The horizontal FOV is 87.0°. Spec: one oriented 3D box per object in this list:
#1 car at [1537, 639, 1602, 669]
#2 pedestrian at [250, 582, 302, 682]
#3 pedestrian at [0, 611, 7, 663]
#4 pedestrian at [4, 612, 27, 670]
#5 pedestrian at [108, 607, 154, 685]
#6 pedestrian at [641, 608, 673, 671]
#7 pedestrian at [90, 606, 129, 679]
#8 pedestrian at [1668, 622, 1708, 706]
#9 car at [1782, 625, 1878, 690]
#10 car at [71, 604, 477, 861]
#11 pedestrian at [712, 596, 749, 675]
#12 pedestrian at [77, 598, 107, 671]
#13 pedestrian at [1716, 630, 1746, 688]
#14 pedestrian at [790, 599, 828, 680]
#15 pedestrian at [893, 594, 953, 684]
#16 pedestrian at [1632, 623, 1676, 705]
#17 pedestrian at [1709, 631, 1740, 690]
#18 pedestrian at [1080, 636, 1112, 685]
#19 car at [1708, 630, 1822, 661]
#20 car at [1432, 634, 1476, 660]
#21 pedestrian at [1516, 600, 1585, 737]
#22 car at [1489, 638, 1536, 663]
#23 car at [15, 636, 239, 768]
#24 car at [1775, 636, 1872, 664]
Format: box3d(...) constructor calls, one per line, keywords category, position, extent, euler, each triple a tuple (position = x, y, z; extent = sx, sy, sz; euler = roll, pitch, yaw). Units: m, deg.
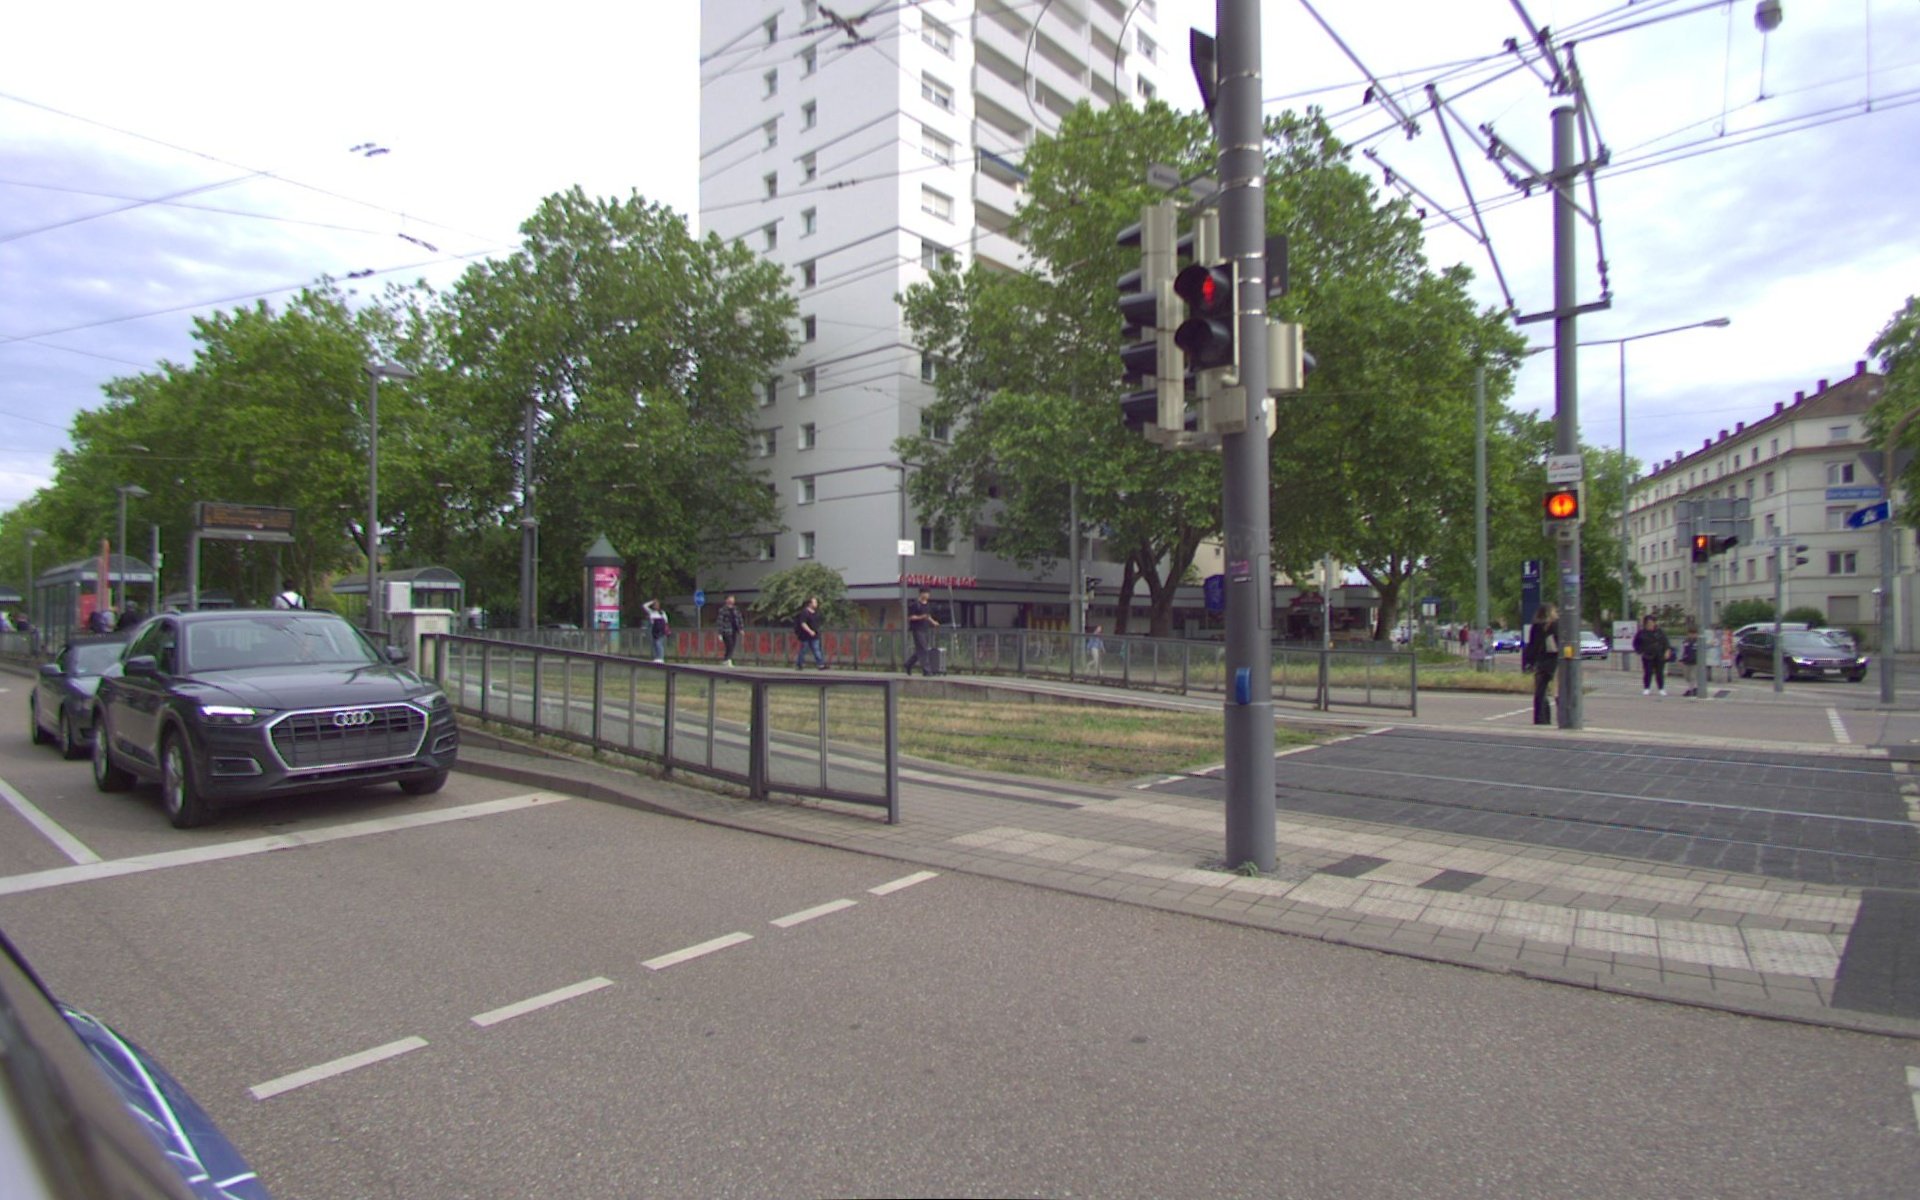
box3d(category="car", position=(31.548, 2.779, 52.492), extent=(1.745, 1.431, 3.981), euler=(-1, -2, 14))
box3d(category="pedestrian", position=(-12.367, 0.562, 18.297), extent=(0.534, 1.764, 0.654), euler=(-2, -1, 42))
box3d(category="pedestrian", position=(-38.336, 1.474, 40.265), extent=(0.821, 2.066, 0.577), euler=(-2, -1, 45))
box3d(category="pedestrian", position=(-34.581, 1.492, 37.038), extent=(0.821, 2.066, 0.577), euler=(-2, -1, 45))
box3d(category="pedestrian", position=(-19.502, 1.071, 23.801), extent=(0.652, 1.805, 0.535), euler=(-1, -1, -9))
box3d(category="pedestrian", position=(-8.238, 1.056, 27.536), extent=(0.565, 1.681, 0.614), euler=(-2, -1, 42))
box3d(category="pedestrian", position=(-21.701, 1.075, 25.818), extent=(0.821, 1.805, 0.674), euler=(-2, -1, 45))
box3d(category="pedestrian", position=(14.429, 1.263, 20.069), extent=(0.499, 1.624, 0.366), euler=(-1, -1, 9))
box3d(category="car", position=(24.892, 1.670, 29.074), extent=(1.660, 1.732, 3.695), euler=(-2, -4, 35))
box3d(category="car", position=(-6.077, 0.912, 8.749), extent=(4.366, 1.660, 1.892), euler=(-2, -1, 42))
box3d(category="pedestrian", position=(-5.321, 0.812, 23.460), extent=(0.534, 1.803, 0.614), euler=(-2, -1, 42))
box3d(category="pedestrian", position=(-25.031, 0.977, 29.184), extent=(0.821, 2.066, 0.577), euler=(-2, -1, 45))
box3d(category="pedestrian", position=(18.395, 1.404, 24.142), extent=(0.413, 1.375, 0.389), euler=(-1, -1, 14))
box3d(category="pedestrian", position=(-3.344, 0.856, 22.444), extent=(0.548, 1.764, 0.614), euler=(-2, -1, 42))
box3d(category="pedestrian", position=(-0.724, 0.748, 19.680), extent=(0.878, 1.708, 0.733), euler=(-2, -1, 42))
box3d(category="pedestrian", position=(13.904, 1.276, 20.284), extent=(0.518, 1.624, 0.525), euler=(-1, -1, 9))
box3d(category="pedestrian", position=(18.007, 1.417, 23.846), extent=(0.413, 1.375, 0.389), euler=(-1, -1, 14))
box3d(category="pedestrian", position=(4.372, 1.942, 32.550), extent=(0.852, 1.520, 0.547), euler=(-2, -1, 38))
box3d(category="car", position=(44.964, 2.535, 56.684), extent=(4.820, 1.676, 1.977), euler=(-1, -2, 34))
box3d(category="car", position=(33.126, 3.157, 67.982), extent=(1.983, 1.564, 3.888), euler=(-1, -1, 17))
box3d(category="pedestrian", position=(7.883, 0.891, 13.505), extent=(0.627, 1.763, 0.647), euler=(-2, -1, 43))
box3d(category="car", position=(38.599, 3.514, 70.779), extent=(1.918, 1.697, 3.980), euler=(-1, -2, 15))
box3d(category="car", position=(-10.753, 1.179, 12.960), extent=(4.012, 1.385, 1.616), euler=(-2, -1, 42))
box3d(category="car", position=(49.696, 2.844, 58.318), extent=(1.773, 1.497, 4.007), euler=(0, -2, -9))
